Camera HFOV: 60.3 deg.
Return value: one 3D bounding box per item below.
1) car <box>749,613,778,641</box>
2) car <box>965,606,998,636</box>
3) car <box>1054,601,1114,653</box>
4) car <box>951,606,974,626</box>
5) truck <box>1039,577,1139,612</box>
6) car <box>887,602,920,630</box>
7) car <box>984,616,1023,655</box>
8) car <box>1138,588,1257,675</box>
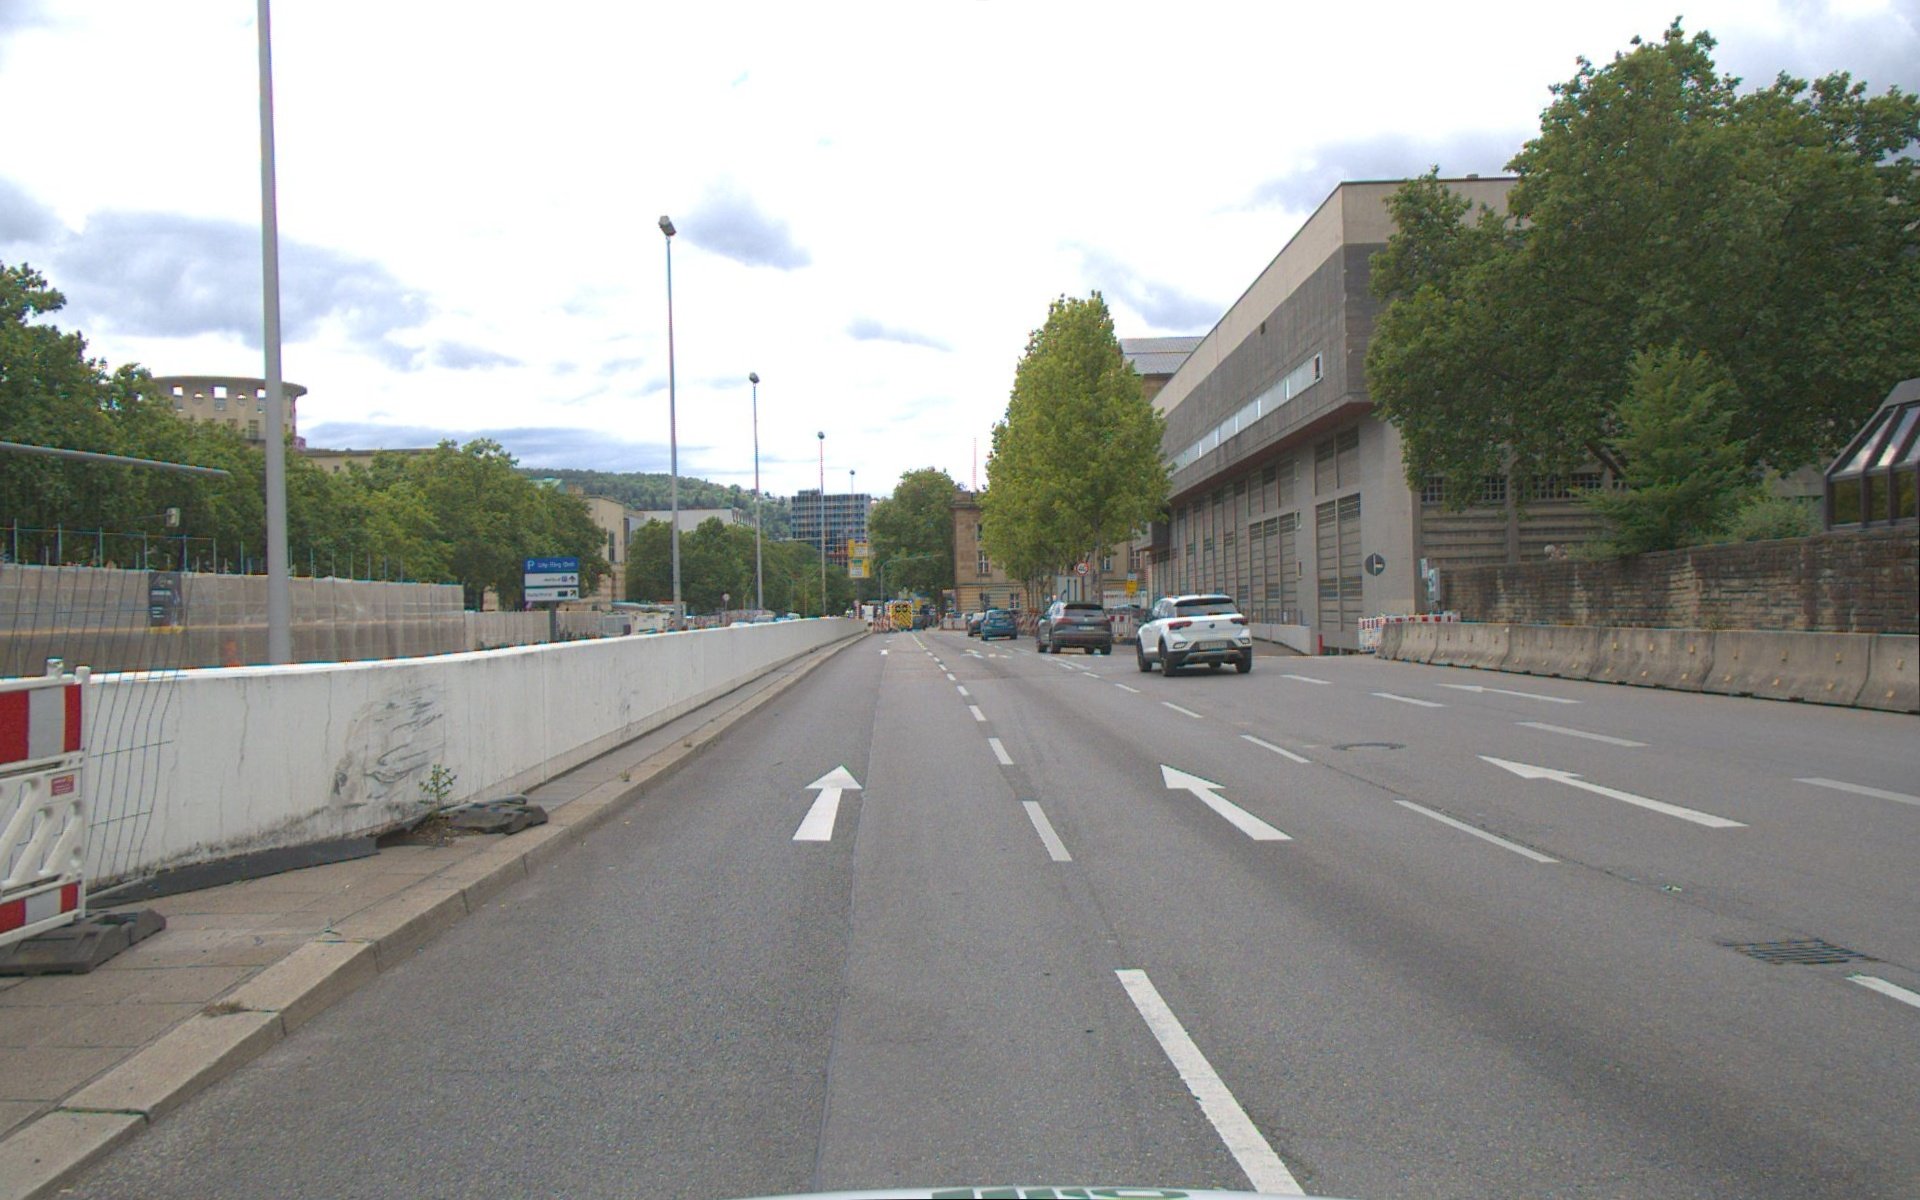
[{"bbox_3d":[-15.978,2.198,134.863,1.953,2.048,3.999,-2,1,-2],"label":"car"},{"bbox_3d":[1.372,1.309,103.234,1.785,1.771,4.481,-2,0,3],"label":"car"},{"bbox_3d":[4.008,0.910,54.007,1.785,1.595,4.480,1,-2,2],"label":"car"},{"bbox_3d":[0.256,1.417,147.718,1.785,1.771,4.481,-2,0,3],"label":"car"},{"bbox_3d":[12.975,-0.543,166.792,9.826,3.104,2.568,-2,-2,-1],"label":"truck"},{"bbox_3d":[-5.196,1.461,153.136,2.528,2.416,5.528,-2,0,2],"label":"car"},{"bbox_3d":[2.175,1.722,81.686,1.785,1.771,4.481,-2,0,3],"label":"car"},{"bbox_3d":[4.823,0.604,34.136,1.715,1.595,4.330,-3,0,-1],"label":"car"}]
